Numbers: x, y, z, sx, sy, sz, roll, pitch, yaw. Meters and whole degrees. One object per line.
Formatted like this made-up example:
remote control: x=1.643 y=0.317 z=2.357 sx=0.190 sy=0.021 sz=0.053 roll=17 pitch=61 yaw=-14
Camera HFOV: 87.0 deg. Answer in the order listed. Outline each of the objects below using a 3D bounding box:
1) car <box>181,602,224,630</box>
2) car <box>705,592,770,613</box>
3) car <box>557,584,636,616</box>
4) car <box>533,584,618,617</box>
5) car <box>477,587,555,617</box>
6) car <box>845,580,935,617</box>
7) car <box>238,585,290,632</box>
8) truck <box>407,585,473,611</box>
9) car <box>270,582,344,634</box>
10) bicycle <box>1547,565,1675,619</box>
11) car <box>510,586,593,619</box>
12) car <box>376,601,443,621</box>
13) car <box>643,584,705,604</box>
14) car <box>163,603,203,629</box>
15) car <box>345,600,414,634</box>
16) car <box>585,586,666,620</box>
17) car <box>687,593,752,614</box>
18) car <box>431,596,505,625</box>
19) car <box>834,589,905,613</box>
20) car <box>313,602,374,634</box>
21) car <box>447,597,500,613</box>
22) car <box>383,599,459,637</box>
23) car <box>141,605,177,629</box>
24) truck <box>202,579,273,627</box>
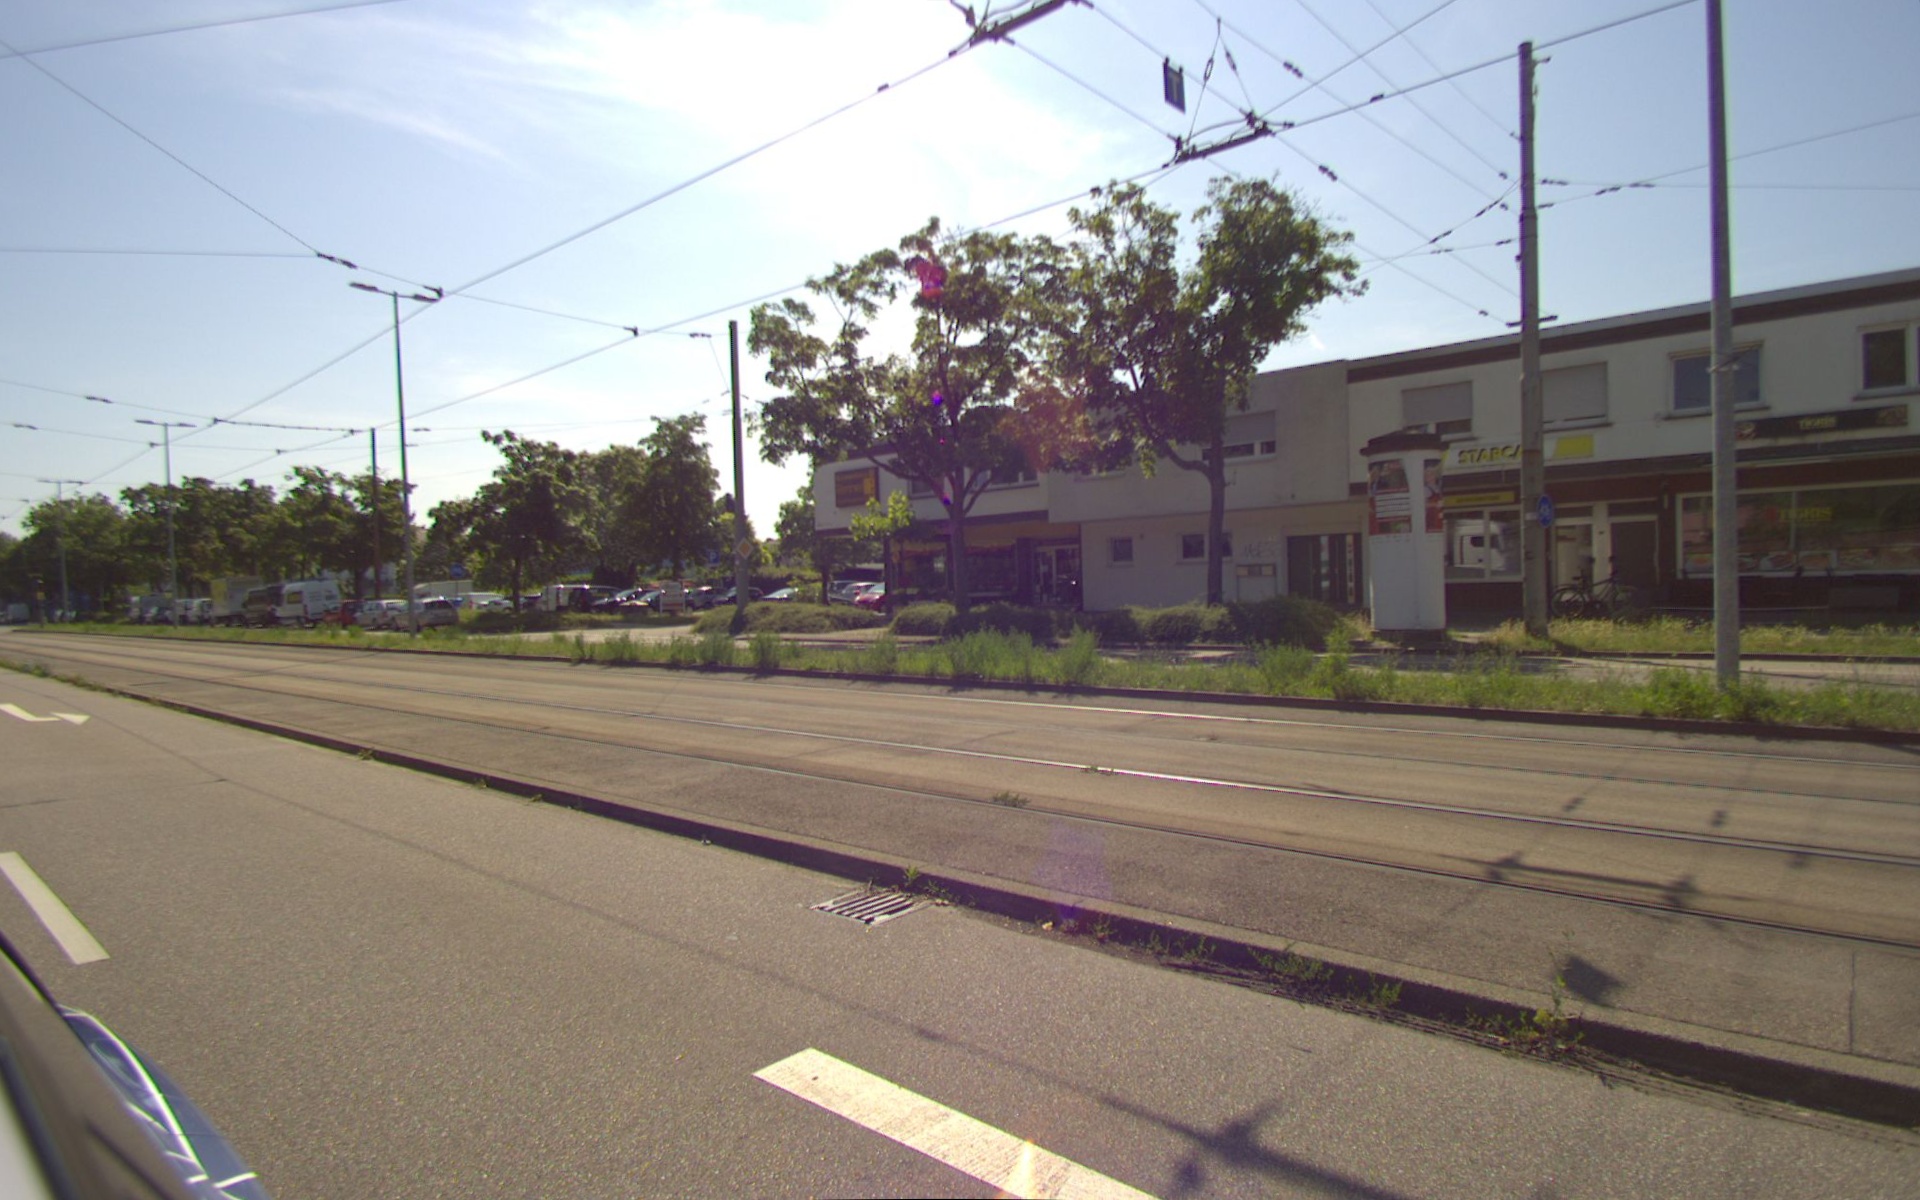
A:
car: x=-54.736 y=1.159 z=73.114 sx=4.631 sy=1.817 sz=1.483 roll=-1 pitch=4 yaw=41
car: x=-15.307 y=0.164 z=69.719 sx=1.676 sy=1.345 sz=4.197 roll=-1 pitch=1 yaw=42
car: x=-20.233 y=0.000 z=56.468 sx=1.676 sy=1.646 sz=3.761 roll=-1 pitch=1 yaw=42
car: x=-22.062 y=0.001 z=58.187 sx=1.988 sy=1.751 sz=4.068 roll=-1 pitch=1 yaw=38
car: x=-28.024 y=0.115 z=64.000 sx=1.988 sy=1.751 sz=4.068 roll=-1 pitch=1 yaw=38
car: x=-3.276 y=-0.076 z=48.018 sx=1.676 sy=1.616 sz=4.197 roll=-1 pitch=1 yaw=42
car: x=-42.325 y=0.533 z=61.517 sx=4.005 sy=2.643 sz=1.483 roll=-1 pitch=4 yaw=41
truck: x=-52.903 y=-0.236 z=103.022 sx=1.988 sy=2.398 sz=5.584 roll=-1 pitch=1 yaw=38
car: x=-37.250 y=0.475 z=57.651 sx=5.201 sy=2.673 sz=2.036 roll=-1 pitch=4 yaw=41
bicycle: x=14.691 y=-0.164 z=22.896 sx=2.333 sy=1.161 sz=0.779 roll=-1 pitch=-1 yaw=42
car: x=-24.037 y=0.137 z=59.668 sx=1.988 sy=1.751 sz=4.068 roll=-1 pitch=1 yaw=38
car: x=-42.067 y=0.817 z=77.434 sx=1.676 sy=1.345 sz=4.198 roll=-1 pitch=1 yaw=41
car: x=-21.075 y=-0.475 z=74.726 sx=1.674 sy=1.345 sz=4.201 roll=-1 pitch=1 yaw=39
car: x=-59.749 y=1.217 z=77.820 sx=4.056 sy=1.859 sz=1.484 roll=-1 pitch=4 yaw=40
car: x=-29.306 y=0.867 z=51.029 sx=4.255 sy=1.544 sz=1.654 roll=-1 pitch=4 yaw=41
car: x=-17.959 y=0.147 z=54.433 sx=1.676 sy=1.646 sz=3.761 roll=-1 pitch=1 yaw=42
car: x=-16.971 y=0.248 z=71.581 sx=1.676 sy=1.345 sz=4.197 roll=-1 pitch=1 yaw=42
car: x=-33.298 y=0.712 z=68.419 sx=5.739 sy=1.825 sz=2.560 roll=-1 pitch=1 yaw=42
car: x=-5.466 y=0.046 z=61.526 sx=1.676 sy=1.345 sz=4.197 roll=-1 pitch=1 yaw=42
car: x=-33.153 y=0.953 z=54.368 sx=3.791 sy=1.544 sz=1.654 roll=-1 pitch=4 yaw=41
car: x=-45.990 y=0.434 z=95.682 sx=1.676 sy=1.345 sz=4.198 roll=-1 pitch=1 yaw=41
car: x=-25.242 y=0.839 z=47.337 sx=4.255 sy=1.544 sz=1.654 roll=-1 pitch=4 yaw=41
car: x=-64.407 y=1.388 z=81.362 sx=3.685 sy=1.799 sz=1.484 roll=-1 pitch=4 yaw=40
truck: x=-48.242 y=0.210 z=67.556 sx=5.902 sy=2.956 sz=2.476 roll=-1 pitch=4 yaw=42
